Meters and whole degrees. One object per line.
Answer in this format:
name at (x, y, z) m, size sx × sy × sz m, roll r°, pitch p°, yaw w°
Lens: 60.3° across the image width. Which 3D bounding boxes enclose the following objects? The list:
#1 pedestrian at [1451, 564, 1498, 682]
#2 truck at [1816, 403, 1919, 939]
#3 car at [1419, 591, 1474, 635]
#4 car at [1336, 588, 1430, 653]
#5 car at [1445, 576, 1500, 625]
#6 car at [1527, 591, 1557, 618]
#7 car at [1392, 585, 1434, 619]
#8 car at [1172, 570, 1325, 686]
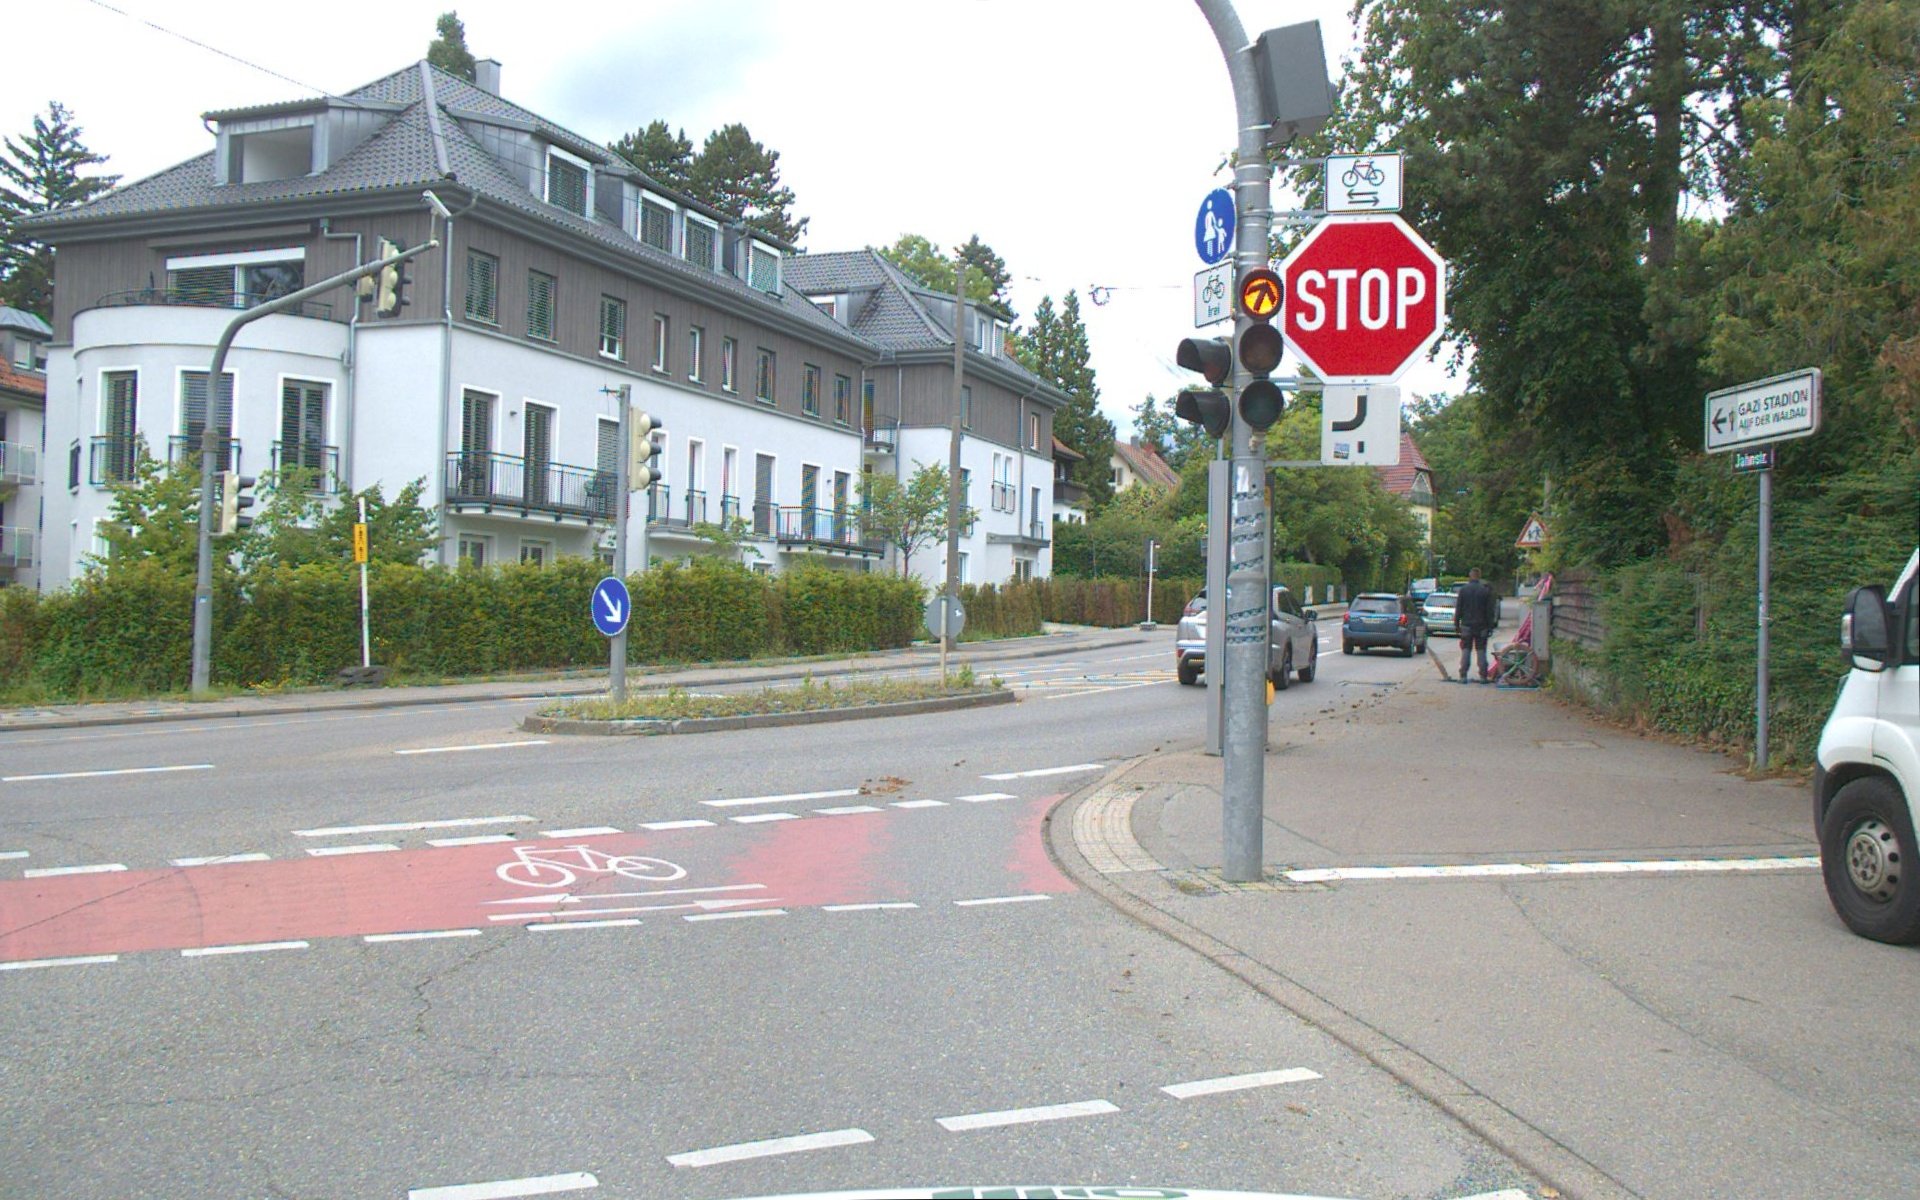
pedestrian at (8.576, 0.379, 27.574) m, size 0.584 × 1.940 × 0.558 m, roll 1°, pitch 0°, yaw 0°
truck at (5.133, 0.318, 5.033) m, size 2.162 × 2.283 × 5.724 m, roll 1°, pitch 0°, yaw 1°
car at (16.777, 0.432, 56.946) m, size 1.658 × 1.455 × 3.750 m, roll -1°, pitch 0°, yaw 19°
car at (10.796, 0.482, 41.974) m, size 1.763 × 1.553 × 4.743 m, roll -1°, pitch 0°, yaw 21°
car at (21.668, 0.002, 69.827) m, size 1.879 × 1.927 × 4.909 m, roll 2°, pitch 1°, yaw 20°
car at (42.782, 0.295, 121.473) m, size 1.899 × 1.857 × 4.078 m, roll 2°, pitch 1°, yaw 21°
car at (26.800, 0.131, 97.808) m, size 1.873 × 1.913 × 5.142 m, roll -1°, pitch -1°, yaw 21°
car at (4.929, 0.423, 27.811) m, size 1.770 × 1.784 × 4.488 m, roll -1°, pitch 0°, yaw 20°
